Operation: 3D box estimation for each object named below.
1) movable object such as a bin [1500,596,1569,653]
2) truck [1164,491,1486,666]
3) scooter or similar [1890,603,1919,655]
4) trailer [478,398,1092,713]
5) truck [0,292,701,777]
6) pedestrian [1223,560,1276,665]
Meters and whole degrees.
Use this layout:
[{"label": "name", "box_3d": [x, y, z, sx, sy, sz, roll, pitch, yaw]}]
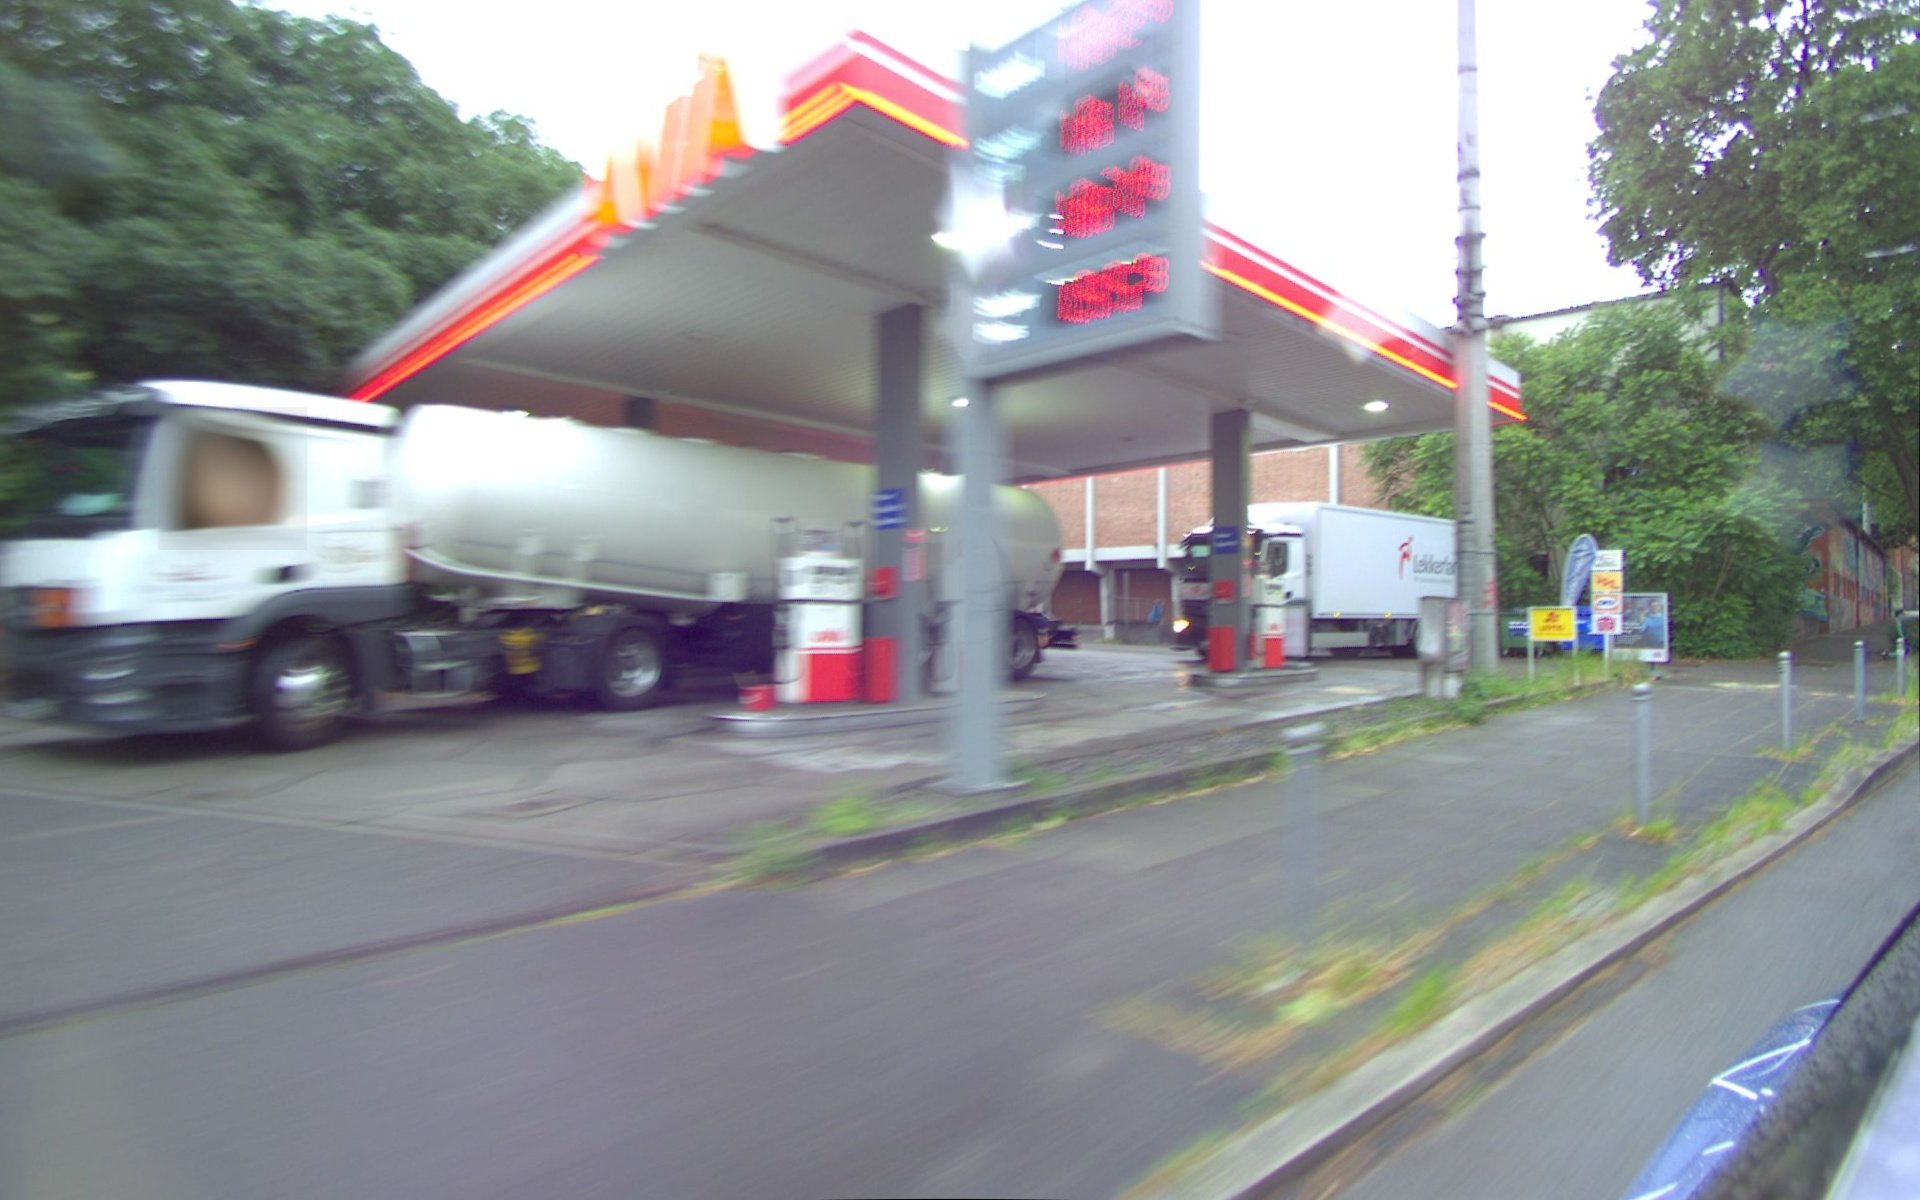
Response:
[{"label": "movable object such as a bin", "box_3d": [15.105, 0.619, 26.638, 1.054, 1.418, 1.285, 1, 1, -41]}, {"label": "truck", "box_3d": [9.376, -0.502, 25.054, 10.070, 3.614, 2.660, -1, 1, -39]}, {"label": "scooter or similar", "box_3d": [23.541, 0.705, 25.038, 1.336, 1.207, 0.401, -3, 2, -29]}, {"label": "trailer", "box_3d": [-1.905, -0.557, 15.596, 2.803, 3.438, 9.686, 1, 1, 42]}, {"label": "truck", "box_3d": [-5.918, -0.521, 10.537, 2.814, 3.442, 6.060, 1, 1, 30]}, {"label": "pedestrian", "box_3d": [5.831, 0.241, 20.389, 0.640, 2.066, 0.809, 1, 0, -42]}]
